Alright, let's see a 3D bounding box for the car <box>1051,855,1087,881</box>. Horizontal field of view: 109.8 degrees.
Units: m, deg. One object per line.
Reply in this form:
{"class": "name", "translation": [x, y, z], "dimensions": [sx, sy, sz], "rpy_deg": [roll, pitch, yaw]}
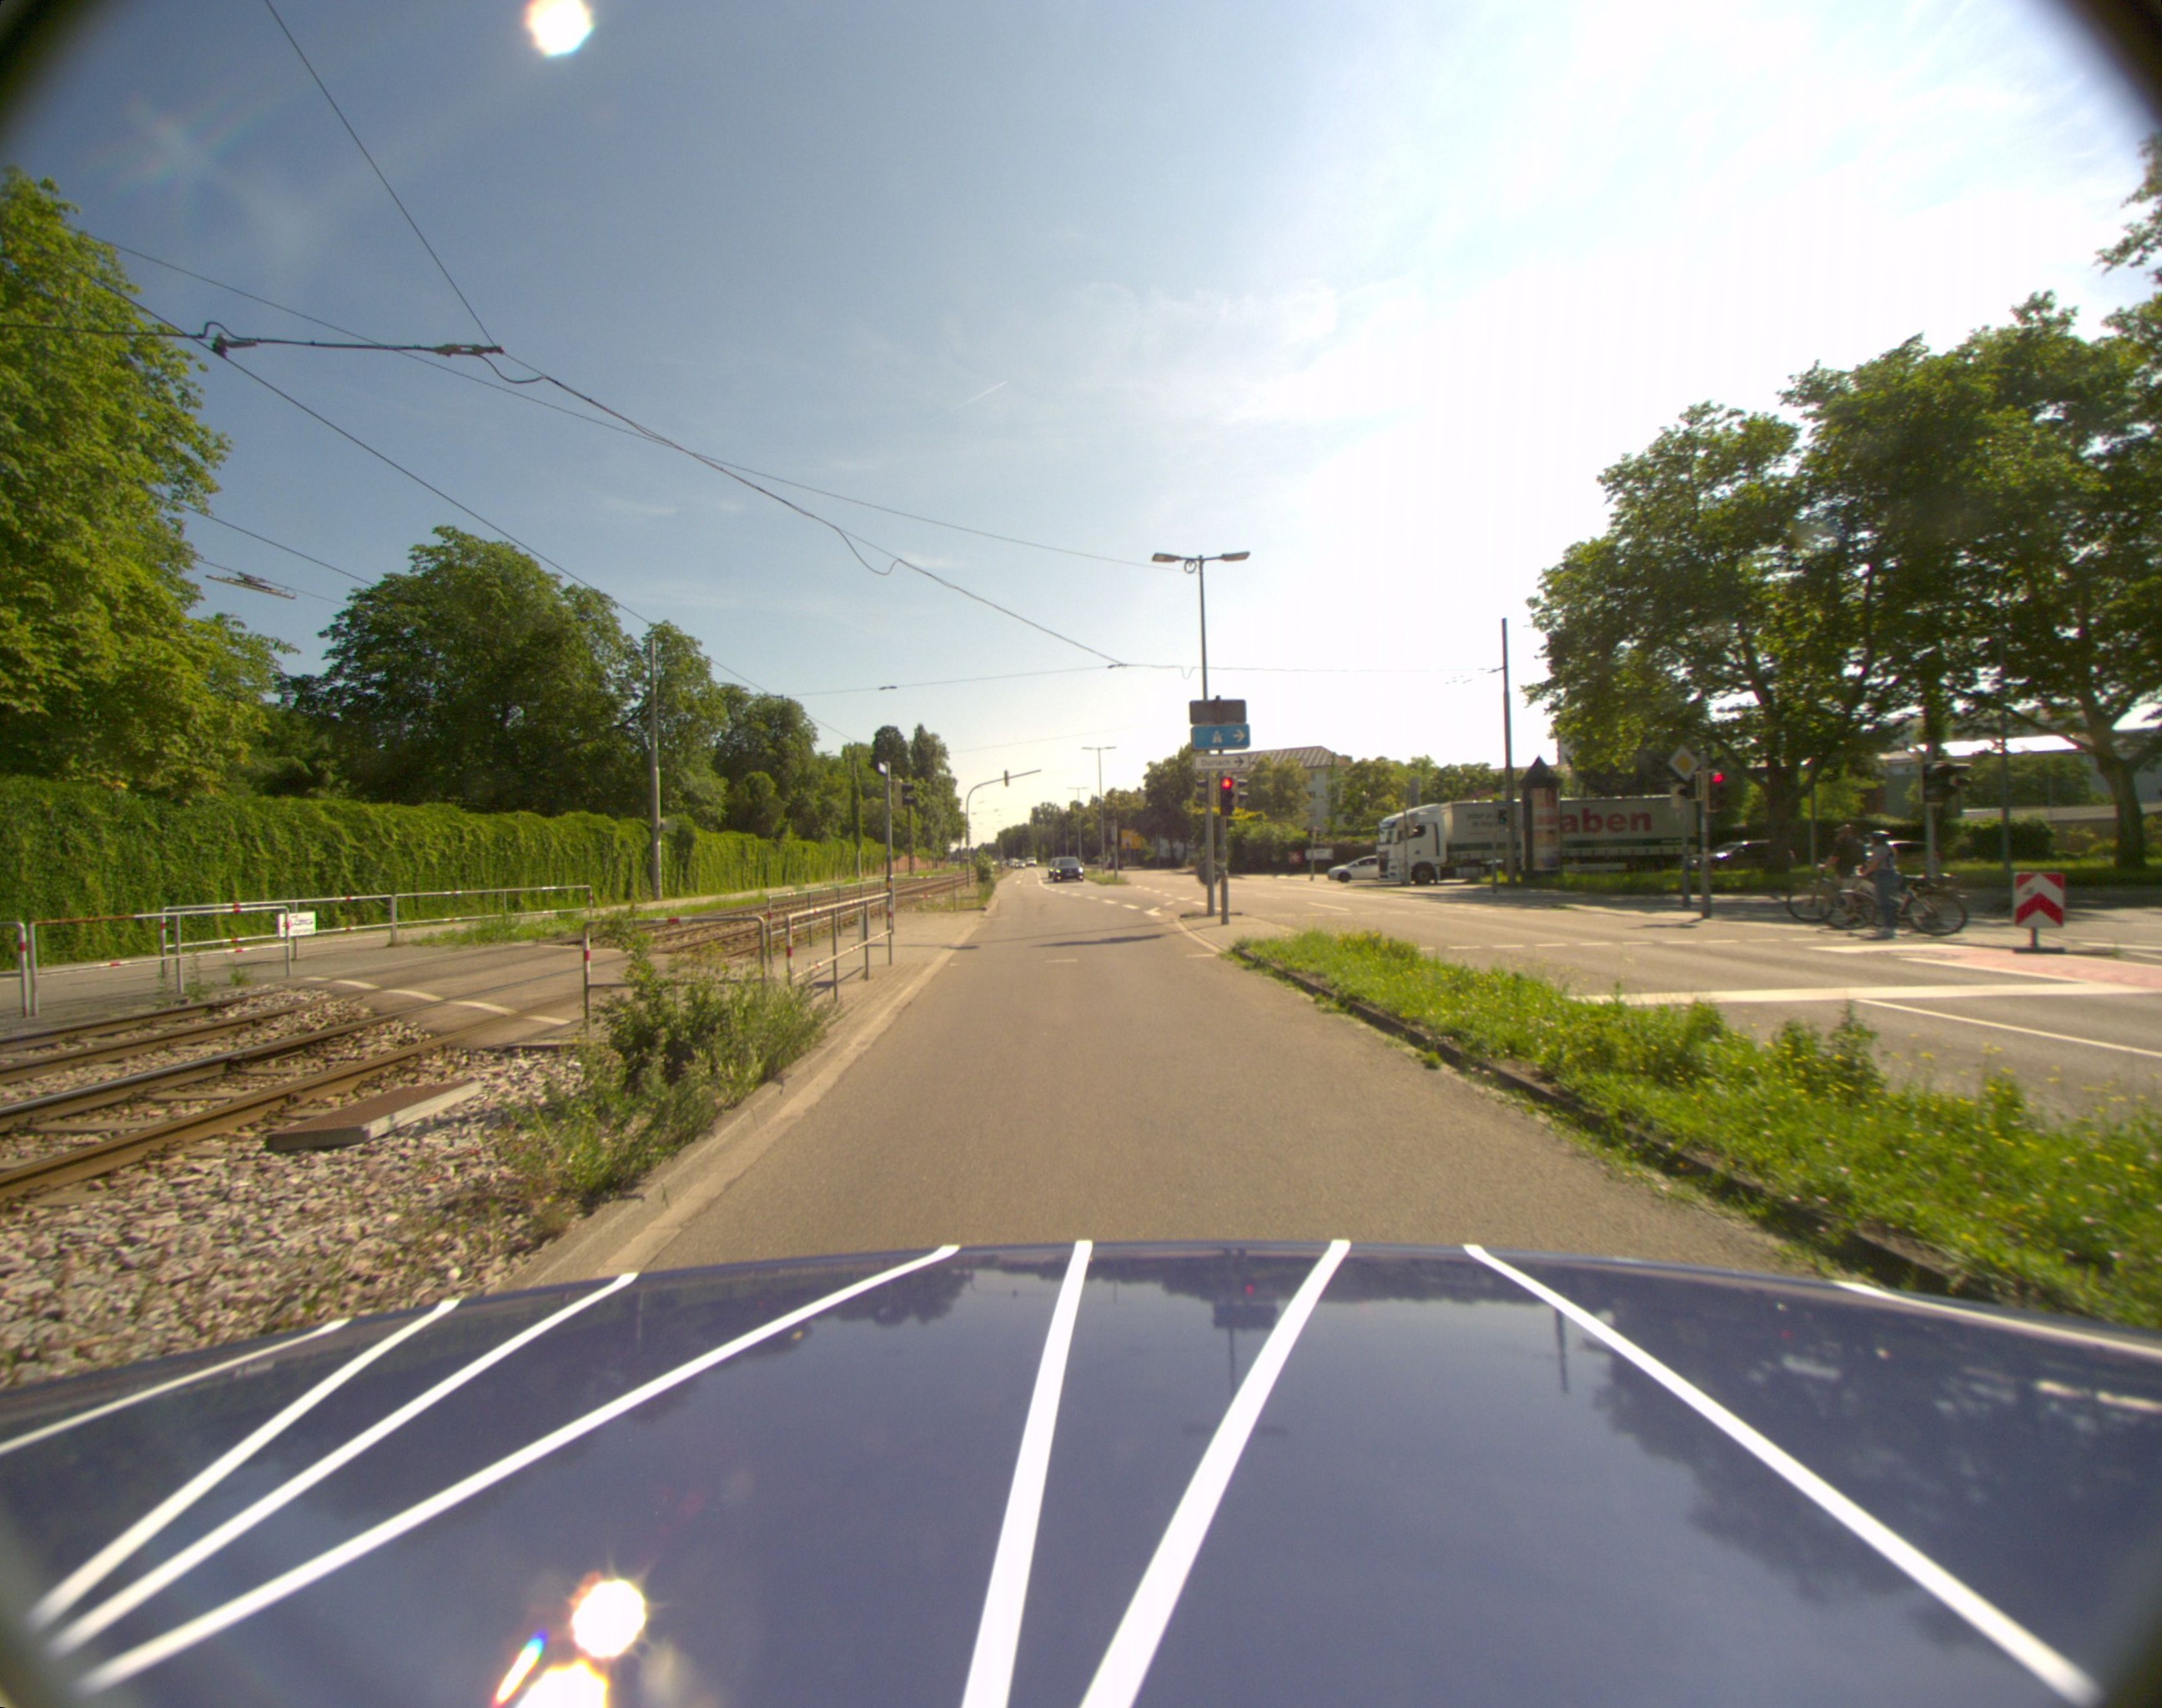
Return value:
{"class": "car", "translation": [-0.831, 0.876, 49.309], "dimensions": [1.756, 1.573, 4.502], "rpy_deg": [-1, 0, -8]}

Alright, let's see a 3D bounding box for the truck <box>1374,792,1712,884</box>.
{"class": "truck", "translation": [21.886, -0.730, 36.658], "dimensions": [14.289, 3.984, 2.855], "rpy_deg": [-1, 1, 3]}

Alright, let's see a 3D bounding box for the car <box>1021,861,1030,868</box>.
{"class": "car", "translation": [-13.057, 2.407, 179.686], "dimensions": [1.931, 1.593, 4.466], "rpy_deg": [-2, 0, -6]}

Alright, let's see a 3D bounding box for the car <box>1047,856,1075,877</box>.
{"class": "car", "translation": [-1.628, 0.958, 60.847], "dimensions": [1.756, 1.573, 4.502], "rpy_deg": [-1, 0, -7]}

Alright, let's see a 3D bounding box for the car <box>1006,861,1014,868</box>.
{"class": "car", "translation": [-17.733, 2.543, 189.892], "dimensions": [1.931, 1.593, 4.466], "rpy_deg": [-2, 0, -6]}

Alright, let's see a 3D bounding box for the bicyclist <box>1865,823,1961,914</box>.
{"class": "bicyclist", "translation": [13.428, 0.236, 12.280], "dimensions": [0.710, 1.412, 0.739], "rpy_deg": [-2, -1, -11]}

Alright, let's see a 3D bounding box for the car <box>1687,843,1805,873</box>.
{"class": "car", "translation": [34.287, 0.221, 39.268], "dimensions": [4.366, 1.360, 1.757], "rpy_deg": [-2, -1, 6]}

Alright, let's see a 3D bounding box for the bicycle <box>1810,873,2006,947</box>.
{"class": "bicycle", "translation": [13.450, 0.869, 12.467], "dimensions": [0.753, 1.051, 2.073], "rpy_deg": [-1, 0, -11]}

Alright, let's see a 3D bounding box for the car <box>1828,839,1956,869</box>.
{"class": "car", "translation": [41.342, 0.036, 38.830], "dimensions": [4.366, 1.360, 1.757], "rpy_deg": [-2, -1, 6]}

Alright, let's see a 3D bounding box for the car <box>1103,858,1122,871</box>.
{"class": "car", "translation": [3.927, 1.294, 94.591], "dimensions": [1.756, 1.573, 4.503], "rpy_deg": [0, 0, -5]}

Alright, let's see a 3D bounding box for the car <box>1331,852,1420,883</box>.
{"class": "car", "translation": [16.013, 0.747, 41.453], "dimensions": [4.388, 1.501, 1.759], "rpy_deg": [-2, -1, 19]}

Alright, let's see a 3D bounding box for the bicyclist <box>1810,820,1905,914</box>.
{"class": "bicyclist", "translation": [14.426, 0.250, 14.135], "dimensions": [0.837, 1.664, 0.827], "rpy_deg": [-2, -1, -3]}

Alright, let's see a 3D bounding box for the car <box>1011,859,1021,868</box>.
{"class": "car", "translation": [-12.586, 1.816, 146.945], "dimensions": [1.931, 1.593, 4.466], "rpy_deg": [-2, 0, -6]}

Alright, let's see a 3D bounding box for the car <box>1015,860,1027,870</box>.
{"class": "car", "translation": [-10.162, 1.854, 129.195], "dimensions": [1.931, 1.593, 4.466], "rpy_deg": [-2, 0, -5]}

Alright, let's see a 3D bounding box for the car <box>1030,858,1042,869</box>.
{"class": "car", "translation": [-9.519, 1.974, 160.692], "dimensions": [2.265, 2.336, 5.228], "rpy_deg": [-2, 0, -5]}

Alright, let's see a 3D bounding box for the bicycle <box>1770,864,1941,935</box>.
{"class": "bicycle", "translation": [14.445, 0.804, 14.292], "dimensions": [0.940, 1.168, 2.211], "rpy_deg": [-1, 0, -1]}
